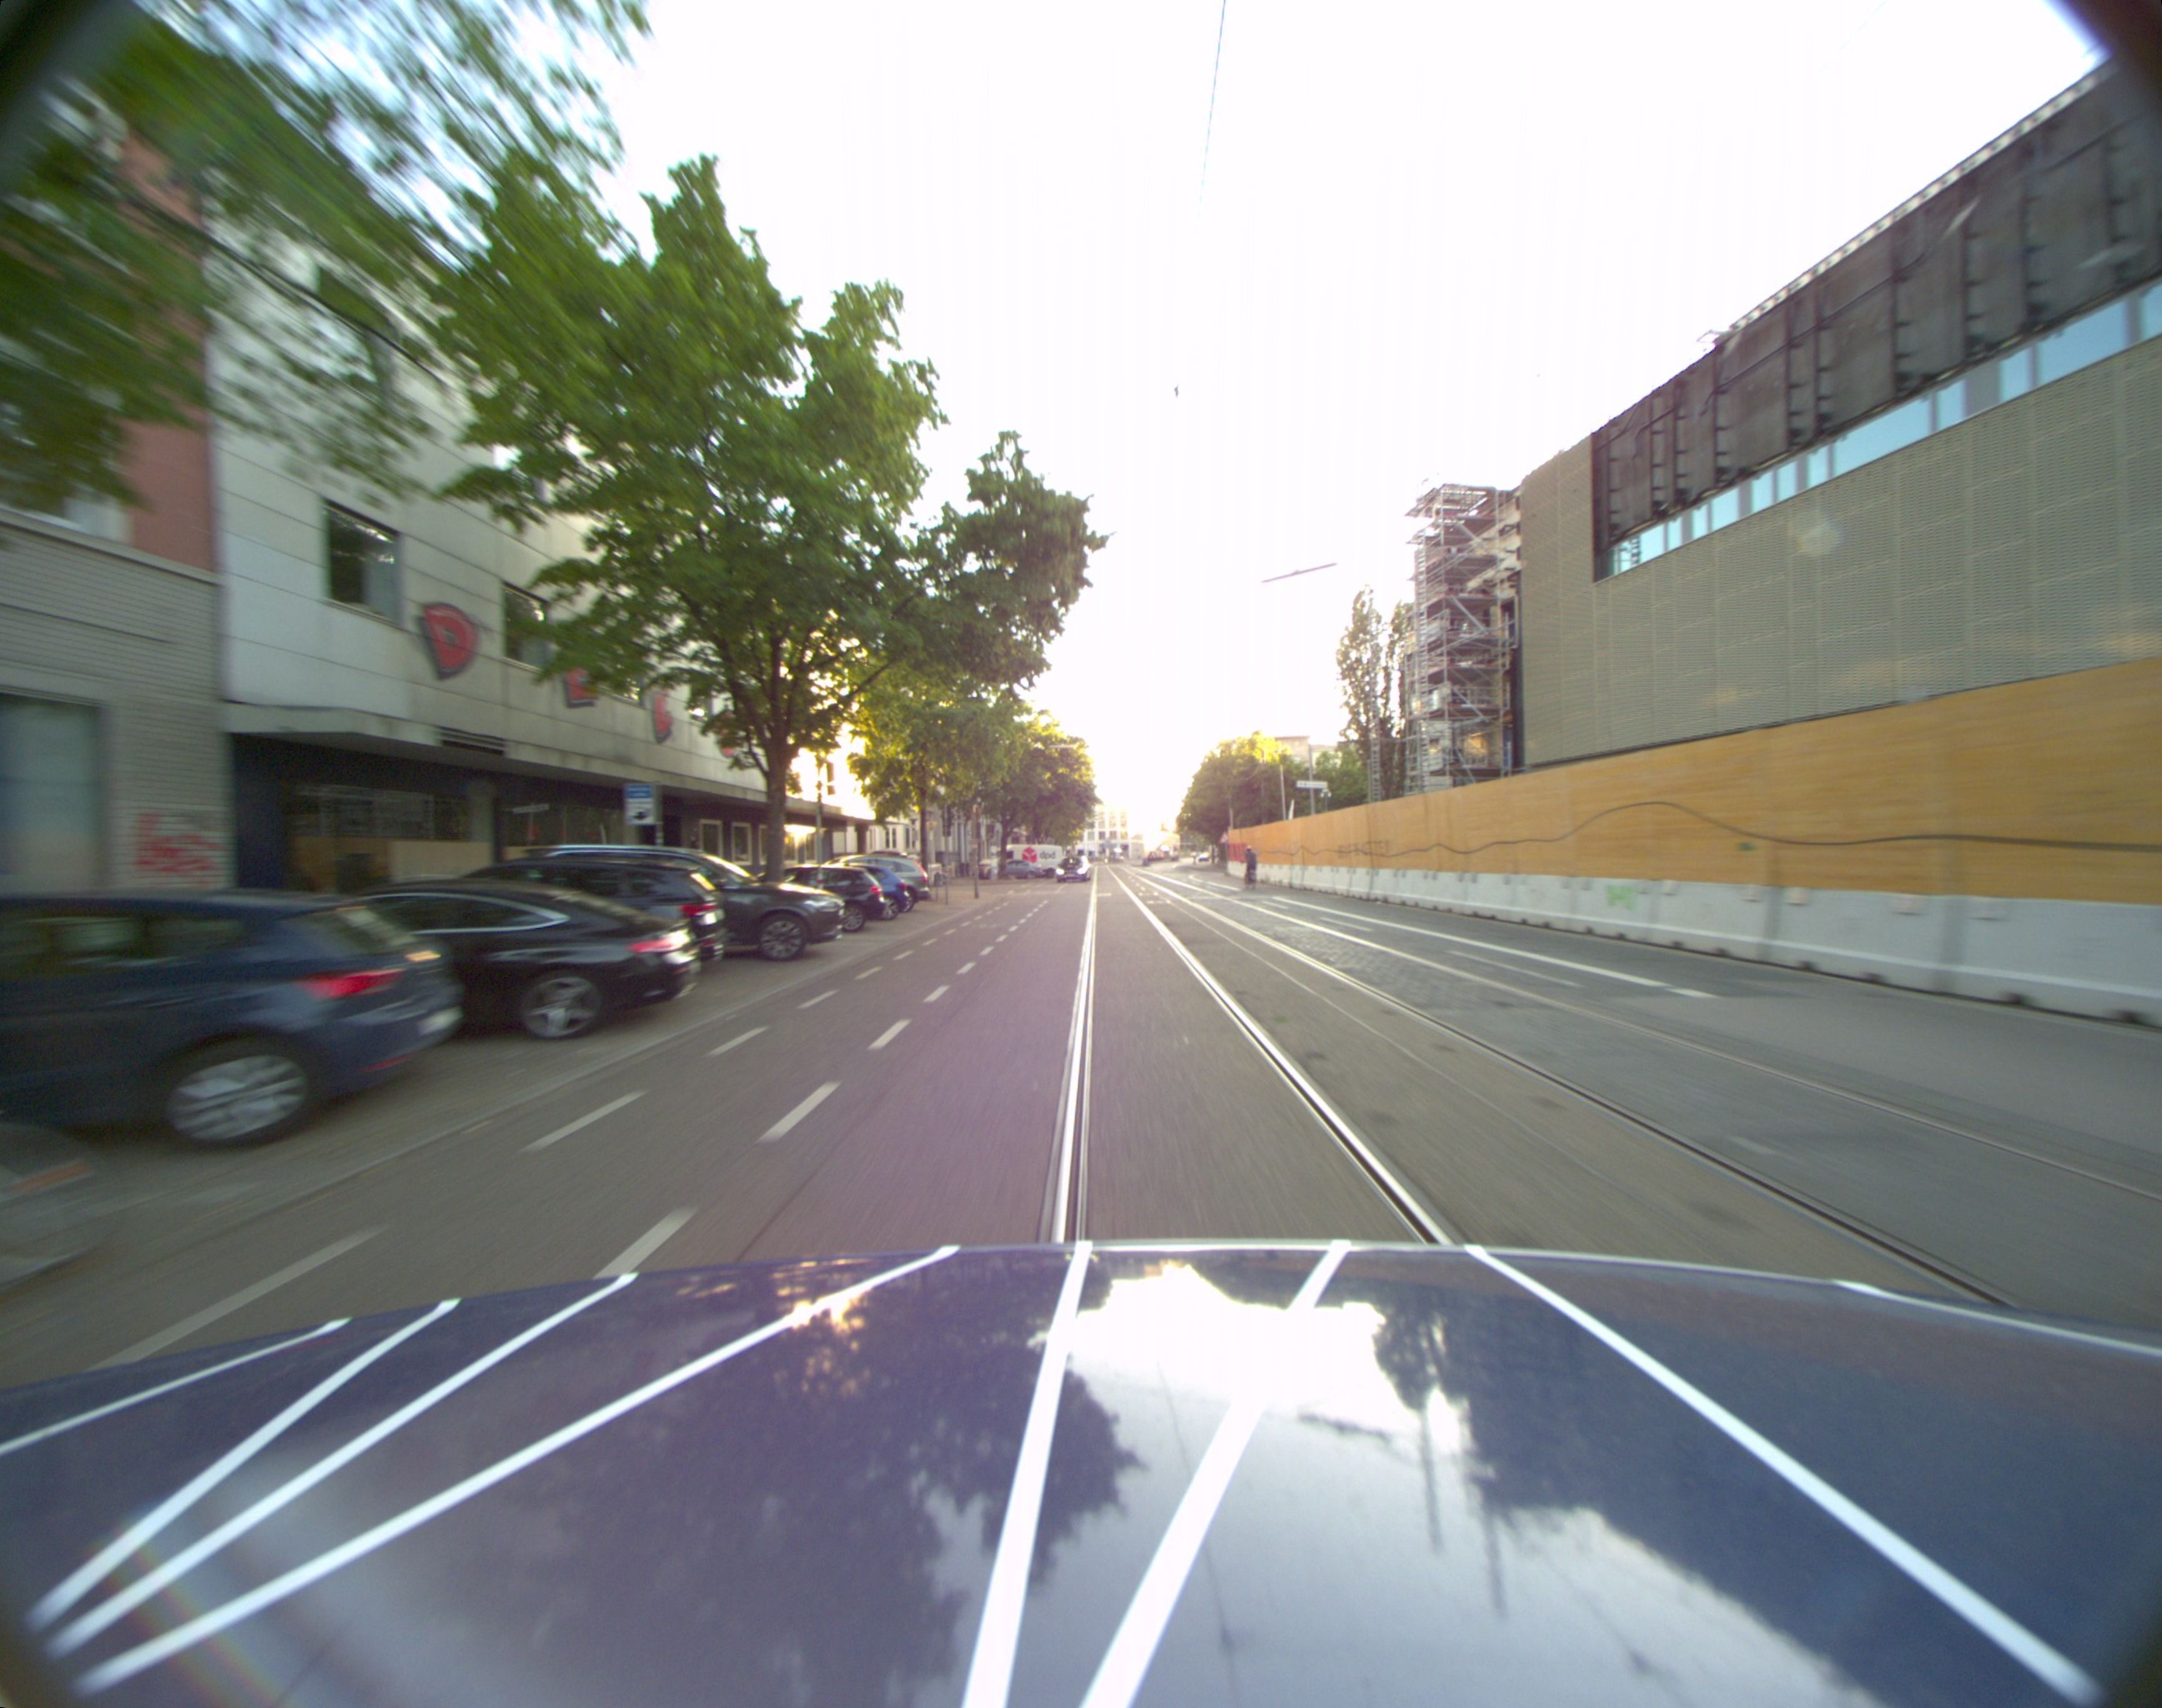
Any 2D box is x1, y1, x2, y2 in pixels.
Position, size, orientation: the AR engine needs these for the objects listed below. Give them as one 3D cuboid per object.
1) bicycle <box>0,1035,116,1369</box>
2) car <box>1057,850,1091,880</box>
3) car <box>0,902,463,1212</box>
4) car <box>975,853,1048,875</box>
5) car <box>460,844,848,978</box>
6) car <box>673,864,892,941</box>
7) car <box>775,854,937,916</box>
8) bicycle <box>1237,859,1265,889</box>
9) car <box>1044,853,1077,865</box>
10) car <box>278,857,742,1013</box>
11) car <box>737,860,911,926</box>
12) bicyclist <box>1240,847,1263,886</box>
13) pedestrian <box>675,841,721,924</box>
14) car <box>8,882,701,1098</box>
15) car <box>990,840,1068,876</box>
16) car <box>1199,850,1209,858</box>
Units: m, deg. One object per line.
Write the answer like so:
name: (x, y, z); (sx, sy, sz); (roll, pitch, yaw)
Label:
bicycle: (-4.726, 1.249, 2.603); (1.842, 1.096, 0.497); (1, 0, -12)
car: (-0.372, 0.662, 47.293); (1.840, 1.631, 4.169); (-5, 0, 2)
car: (-6.118, 1.063, 4.343); (3.766, 1.418, 1.723); (1, 0, -30)
car: (-4.791, 0.713, 52.467); (4.614, 1.504, 1.859); (1, -1, -24)
car: (-6.344, 0.822, 12.082); (4.984, 1.816, 2.205); (1, 0, -17)
car: (-6.436, 0.990, 16.486); (4.174, 1.456, 1.967); (1, 0, -26)
car: (-6.574, 0.871, 22.309); (4.176, 1.654, 1.837); (1, 0, -33)
bicycle: (7.357, 0.832, 32.910); (0.770, 1.221, 1.936); (-1, 0, 1)
car: (-2.925, 0.697, 107.447); (4.217, 1.600, 1.740); (-2, 0, -27)
car: (-6.729, 0.907, 9.579); (4.229, 1.639, 1.973); (1, 0, -17)
car: (-6.528, 0.951, 19.357); (3.901, 1.493, 1.809); (1, 0, -29)
bicyclist: (7.353, 0.531, 32.849); (0.770, 1.656, 1.018); (-1, 0, 1)
pedestrian: (-9.319, 0.671, 18.510); (0.693, 1.974, 0.786); (1, 1, 1)
car: (-5.943, 1.029, 7.075); (4.232, 1.418, 1.971); (2, 0, -26)
car: (-4.033, 0.282, 59.039); (5.650, 2.678, 2.166); (-1, 0, -33)
car: (26.979, 0.000, 166.122); (1.997, 1.674, 4.003); (-1, 0, 11)
